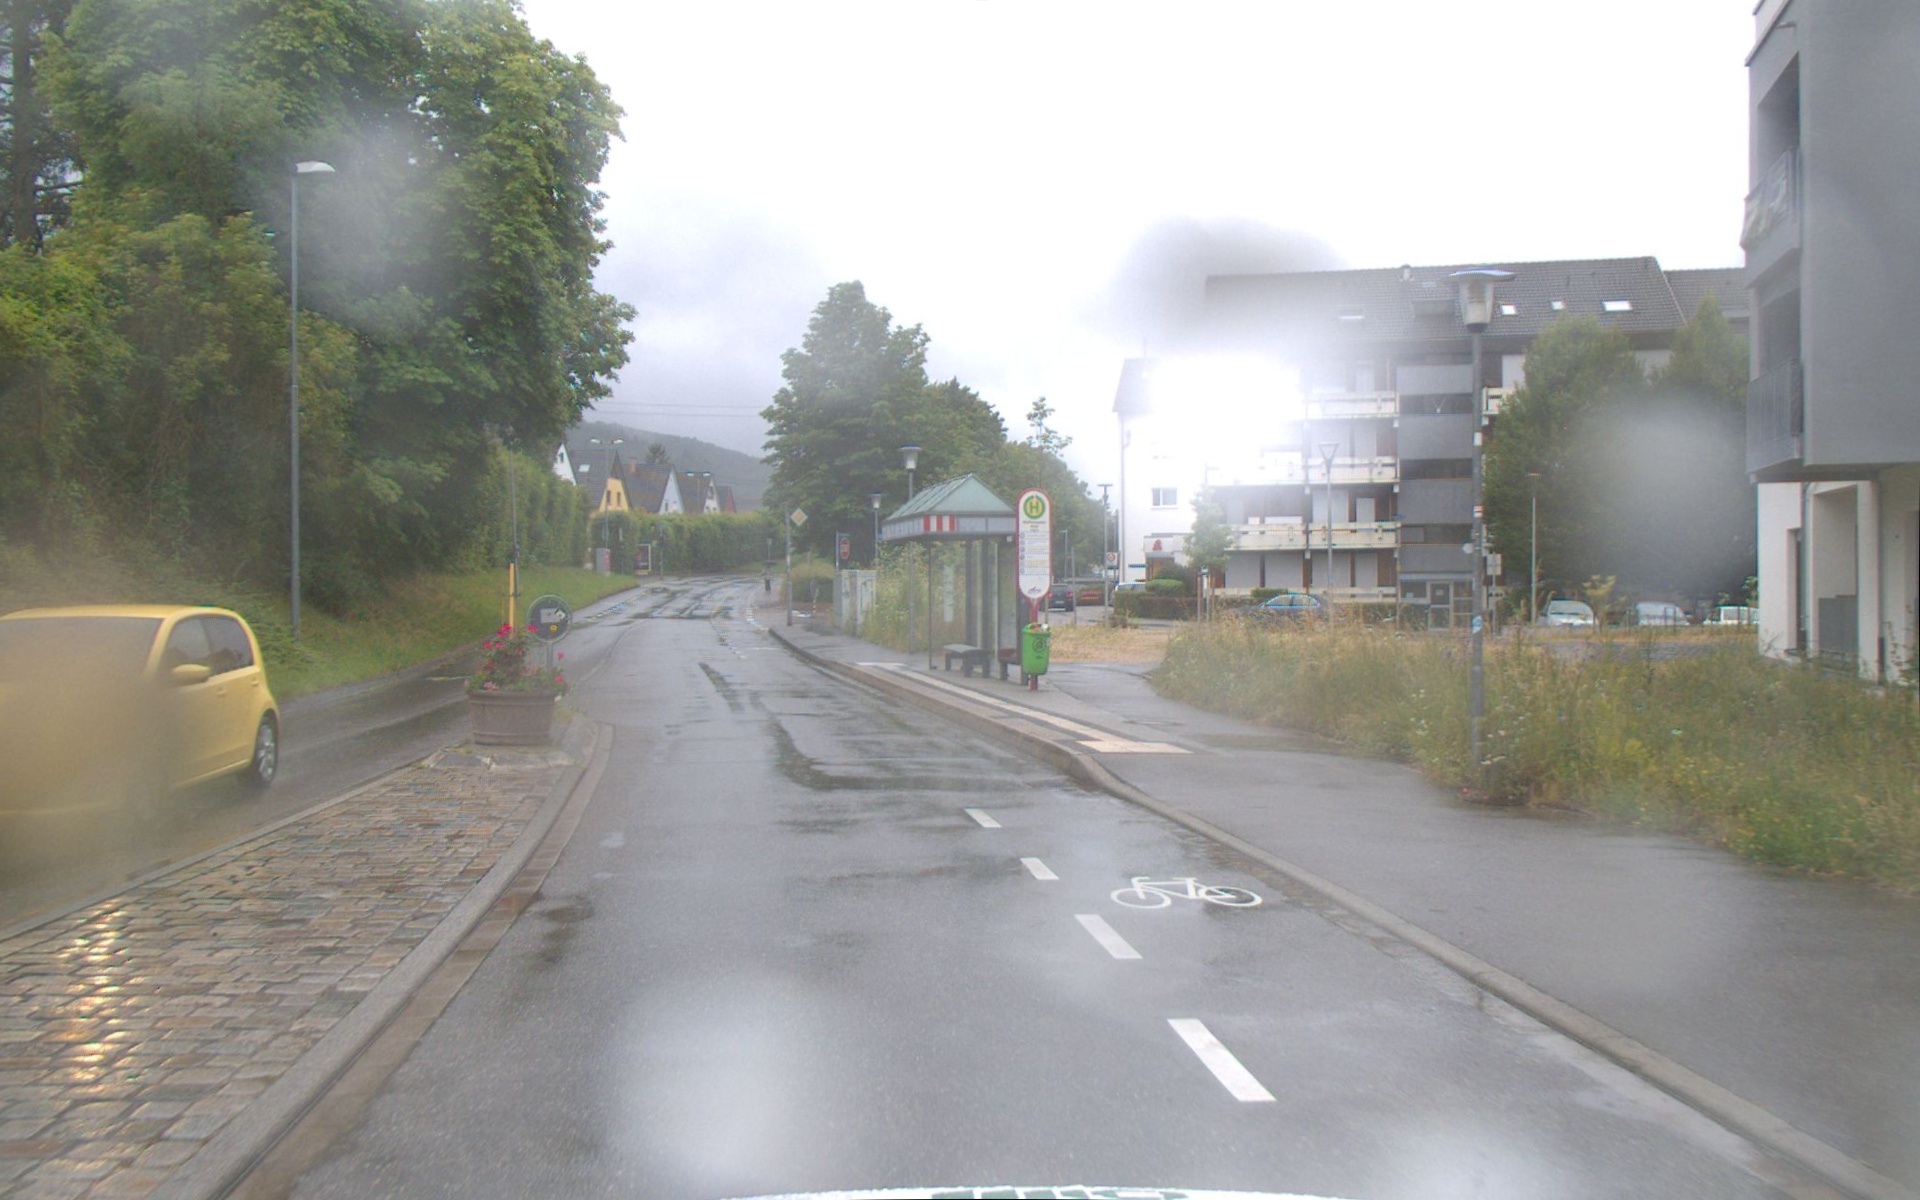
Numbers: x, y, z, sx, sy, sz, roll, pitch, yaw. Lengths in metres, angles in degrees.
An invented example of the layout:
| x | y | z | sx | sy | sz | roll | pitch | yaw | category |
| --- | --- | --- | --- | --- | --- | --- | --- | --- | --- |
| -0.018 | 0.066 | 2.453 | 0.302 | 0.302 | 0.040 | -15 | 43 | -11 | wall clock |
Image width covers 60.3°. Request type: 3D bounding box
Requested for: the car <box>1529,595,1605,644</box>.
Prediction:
| x | y | z | sx | sy | sz | roll | pitch | yaw | category |
| --- | --- | --- | --- | --- | --- | --- | --- | --- | --- |
| 19.241 | 0.634 | 52.573 | 1.679 | 1.466 | 3.709 | 1 | -2 | 11 | car |

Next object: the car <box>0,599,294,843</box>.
| x | y | z | sx | sy | sz | roll | pitch | yaw | category |
| --- | --- | --- | --- | --- | --- | --- | --- | --- | --- |
| -6.089 | 0.749 | 11.778 | 1.542 | 1.435 | 3.470 | -2 | 1 | -6 | car |

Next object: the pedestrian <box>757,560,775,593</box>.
| x | y | z | sx | sy | sz | roll | pitch | yaw | category |
| --- | --- | --- | --- | --- | --- | --- | --- | --- | --- |
| -10.398 | -1.271 | 88.551 | 0.902 | 1.704 | 1.056 | -2 | 2 | -6 | pedestrian |

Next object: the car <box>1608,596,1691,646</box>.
| x | y | z | sx | sy | sz | roll | pitch | yaw | category |
| --- | --- | --- | --- | --- | --- | --- | --- | --- | --- |
| 21.562 | 0.673 | 51.858 | 1.679 | 1.466 | 3.709 | 1 | -2 | 11 | car |

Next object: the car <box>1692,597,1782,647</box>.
| x | y | z | sx | sy | sz | roll | pitch | yaw | category |
| --- | --- | --- | --- | --- | --- | --- | --- | --- | --- |
| 24.138 | 0.710 | 51.492 | 1.679 | 1.466 | 3.709 | 1 | -2 | 11 | car |

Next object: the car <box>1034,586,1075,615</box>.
| x | y | z | sx | sy | sz | roll | pitch | yaw | category |
| --- | --- | --- | --- | --- | --- | --- | --- | --- | --- |
| 5.118 | -0.002 | 90.285 | 1.656 | 1.463 | 3.607 | 0 | 2 | -7 | car |

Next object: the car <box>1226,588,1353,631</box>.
| x | y | z | sx | sy | sz | roll | pitch | yaw | category |
| --- | --- | --- | --- | --- | --- | --- | --- | --- | --- |
| 12.170 | 0.341 | 61.254 | 4.502 | 1.411 | 1.949 | 1 | 1 | 10 | car |
